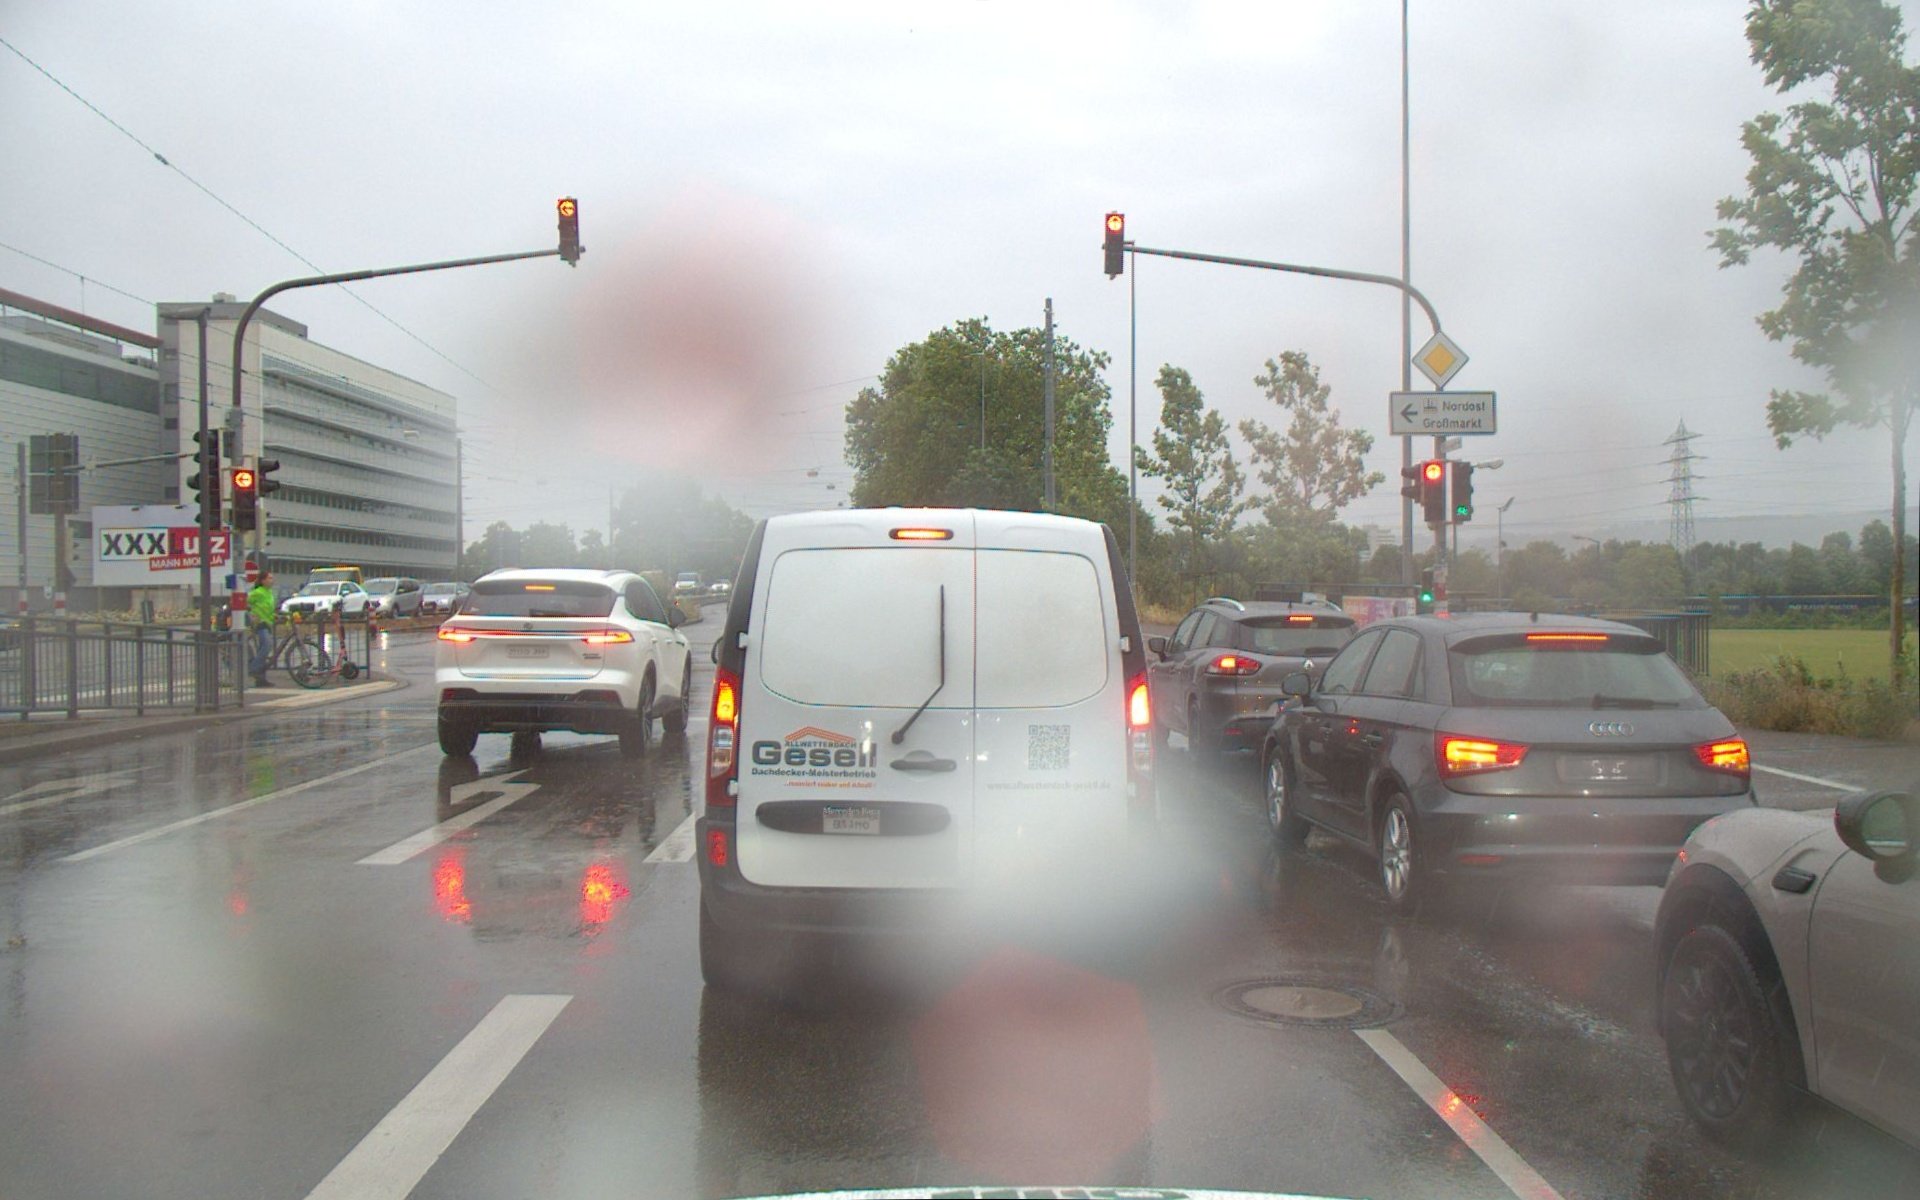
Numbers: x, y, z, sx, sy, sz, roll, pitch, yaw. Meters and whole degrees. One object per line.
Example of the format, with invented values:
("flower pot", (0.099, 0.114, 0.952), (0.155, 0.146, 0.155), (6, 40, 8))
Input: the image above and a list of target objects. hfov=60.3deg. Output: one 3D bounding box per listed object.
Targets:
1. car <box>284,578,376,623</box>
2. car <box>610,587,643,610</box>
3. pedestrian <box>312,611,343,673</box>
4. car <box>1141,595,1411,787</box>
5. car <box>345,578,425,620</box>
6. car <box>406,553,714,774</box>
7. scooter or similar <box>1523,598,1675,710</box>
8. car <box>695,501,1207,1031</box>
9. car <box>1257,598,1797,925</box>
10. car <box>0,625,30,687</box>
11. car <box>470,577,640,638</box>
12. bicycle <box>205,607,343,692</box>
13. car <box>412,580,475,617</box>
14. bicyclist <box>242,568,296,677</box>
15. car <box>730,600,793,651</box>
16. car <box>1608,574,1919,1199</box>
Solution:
("car", (-21.590, 0.049, 56.842), (1.676, 1.451, 3.808), (2, -1, -1))
("car", (-22.673, -0.080, 112.421), (1.528, 1.451, 3.568), (2, -1, -1))
("pedestrian", (-9.698, 0.641, 25.364), (0.309, 0.913, 0.380), (2, 0, -3))
("car", (2.804, 0.746, 15.482), (1.650, 1.534, 3.919), (1, 0, -2))
("car", (-21.768, -0.015, 62.745), (1.676, 1.451, 3.808), (2, -1, -1))
("car", (-3.691, 0.534, 16.160), (1.891, 1.806, 4.663), (1, 0, -1))
("scooter or similar", (7.636, 0.599, 19.938), (0.676, 1.232, 3.020), (0, 0, 0))
("car", (-0.171, 0.532, 7.696), (1.719, 1.780, 4.166), (1, 1, -4))
("car", (2.785, 0.728, 8.976), (1.565, 1.390, 3.629), (-1, -1, -2))
("car", (-21.010, 1.089, 33.720), (3.484, 1.229, 1.427), (3, -1, -28))
("car", (-10.463, 0.216, 42.954), (1.618, 1.452, 4.237), (2, 0, 35))
("bicycle", (-9.705, 0.703, 23.452), (1.725, 1.157, 0.518), (1, 0, -17))
("car", (-21.823, -0.034, 69.980), (1.528, 1.451, 3.568), (2, -1, -1))
("bicyclist", (-9.800, 0.315, 23.463), (0.593, 1.517, 0.597), (1, 0, -15))
("car", (-6.573, 0.829, 55.133), (1.602, 1.549, 3.774), (4, 0, -1))
("car", (2.923, 0.747, 3.266), (1.668, 1.534, 3.878), (3, -1, -1))
